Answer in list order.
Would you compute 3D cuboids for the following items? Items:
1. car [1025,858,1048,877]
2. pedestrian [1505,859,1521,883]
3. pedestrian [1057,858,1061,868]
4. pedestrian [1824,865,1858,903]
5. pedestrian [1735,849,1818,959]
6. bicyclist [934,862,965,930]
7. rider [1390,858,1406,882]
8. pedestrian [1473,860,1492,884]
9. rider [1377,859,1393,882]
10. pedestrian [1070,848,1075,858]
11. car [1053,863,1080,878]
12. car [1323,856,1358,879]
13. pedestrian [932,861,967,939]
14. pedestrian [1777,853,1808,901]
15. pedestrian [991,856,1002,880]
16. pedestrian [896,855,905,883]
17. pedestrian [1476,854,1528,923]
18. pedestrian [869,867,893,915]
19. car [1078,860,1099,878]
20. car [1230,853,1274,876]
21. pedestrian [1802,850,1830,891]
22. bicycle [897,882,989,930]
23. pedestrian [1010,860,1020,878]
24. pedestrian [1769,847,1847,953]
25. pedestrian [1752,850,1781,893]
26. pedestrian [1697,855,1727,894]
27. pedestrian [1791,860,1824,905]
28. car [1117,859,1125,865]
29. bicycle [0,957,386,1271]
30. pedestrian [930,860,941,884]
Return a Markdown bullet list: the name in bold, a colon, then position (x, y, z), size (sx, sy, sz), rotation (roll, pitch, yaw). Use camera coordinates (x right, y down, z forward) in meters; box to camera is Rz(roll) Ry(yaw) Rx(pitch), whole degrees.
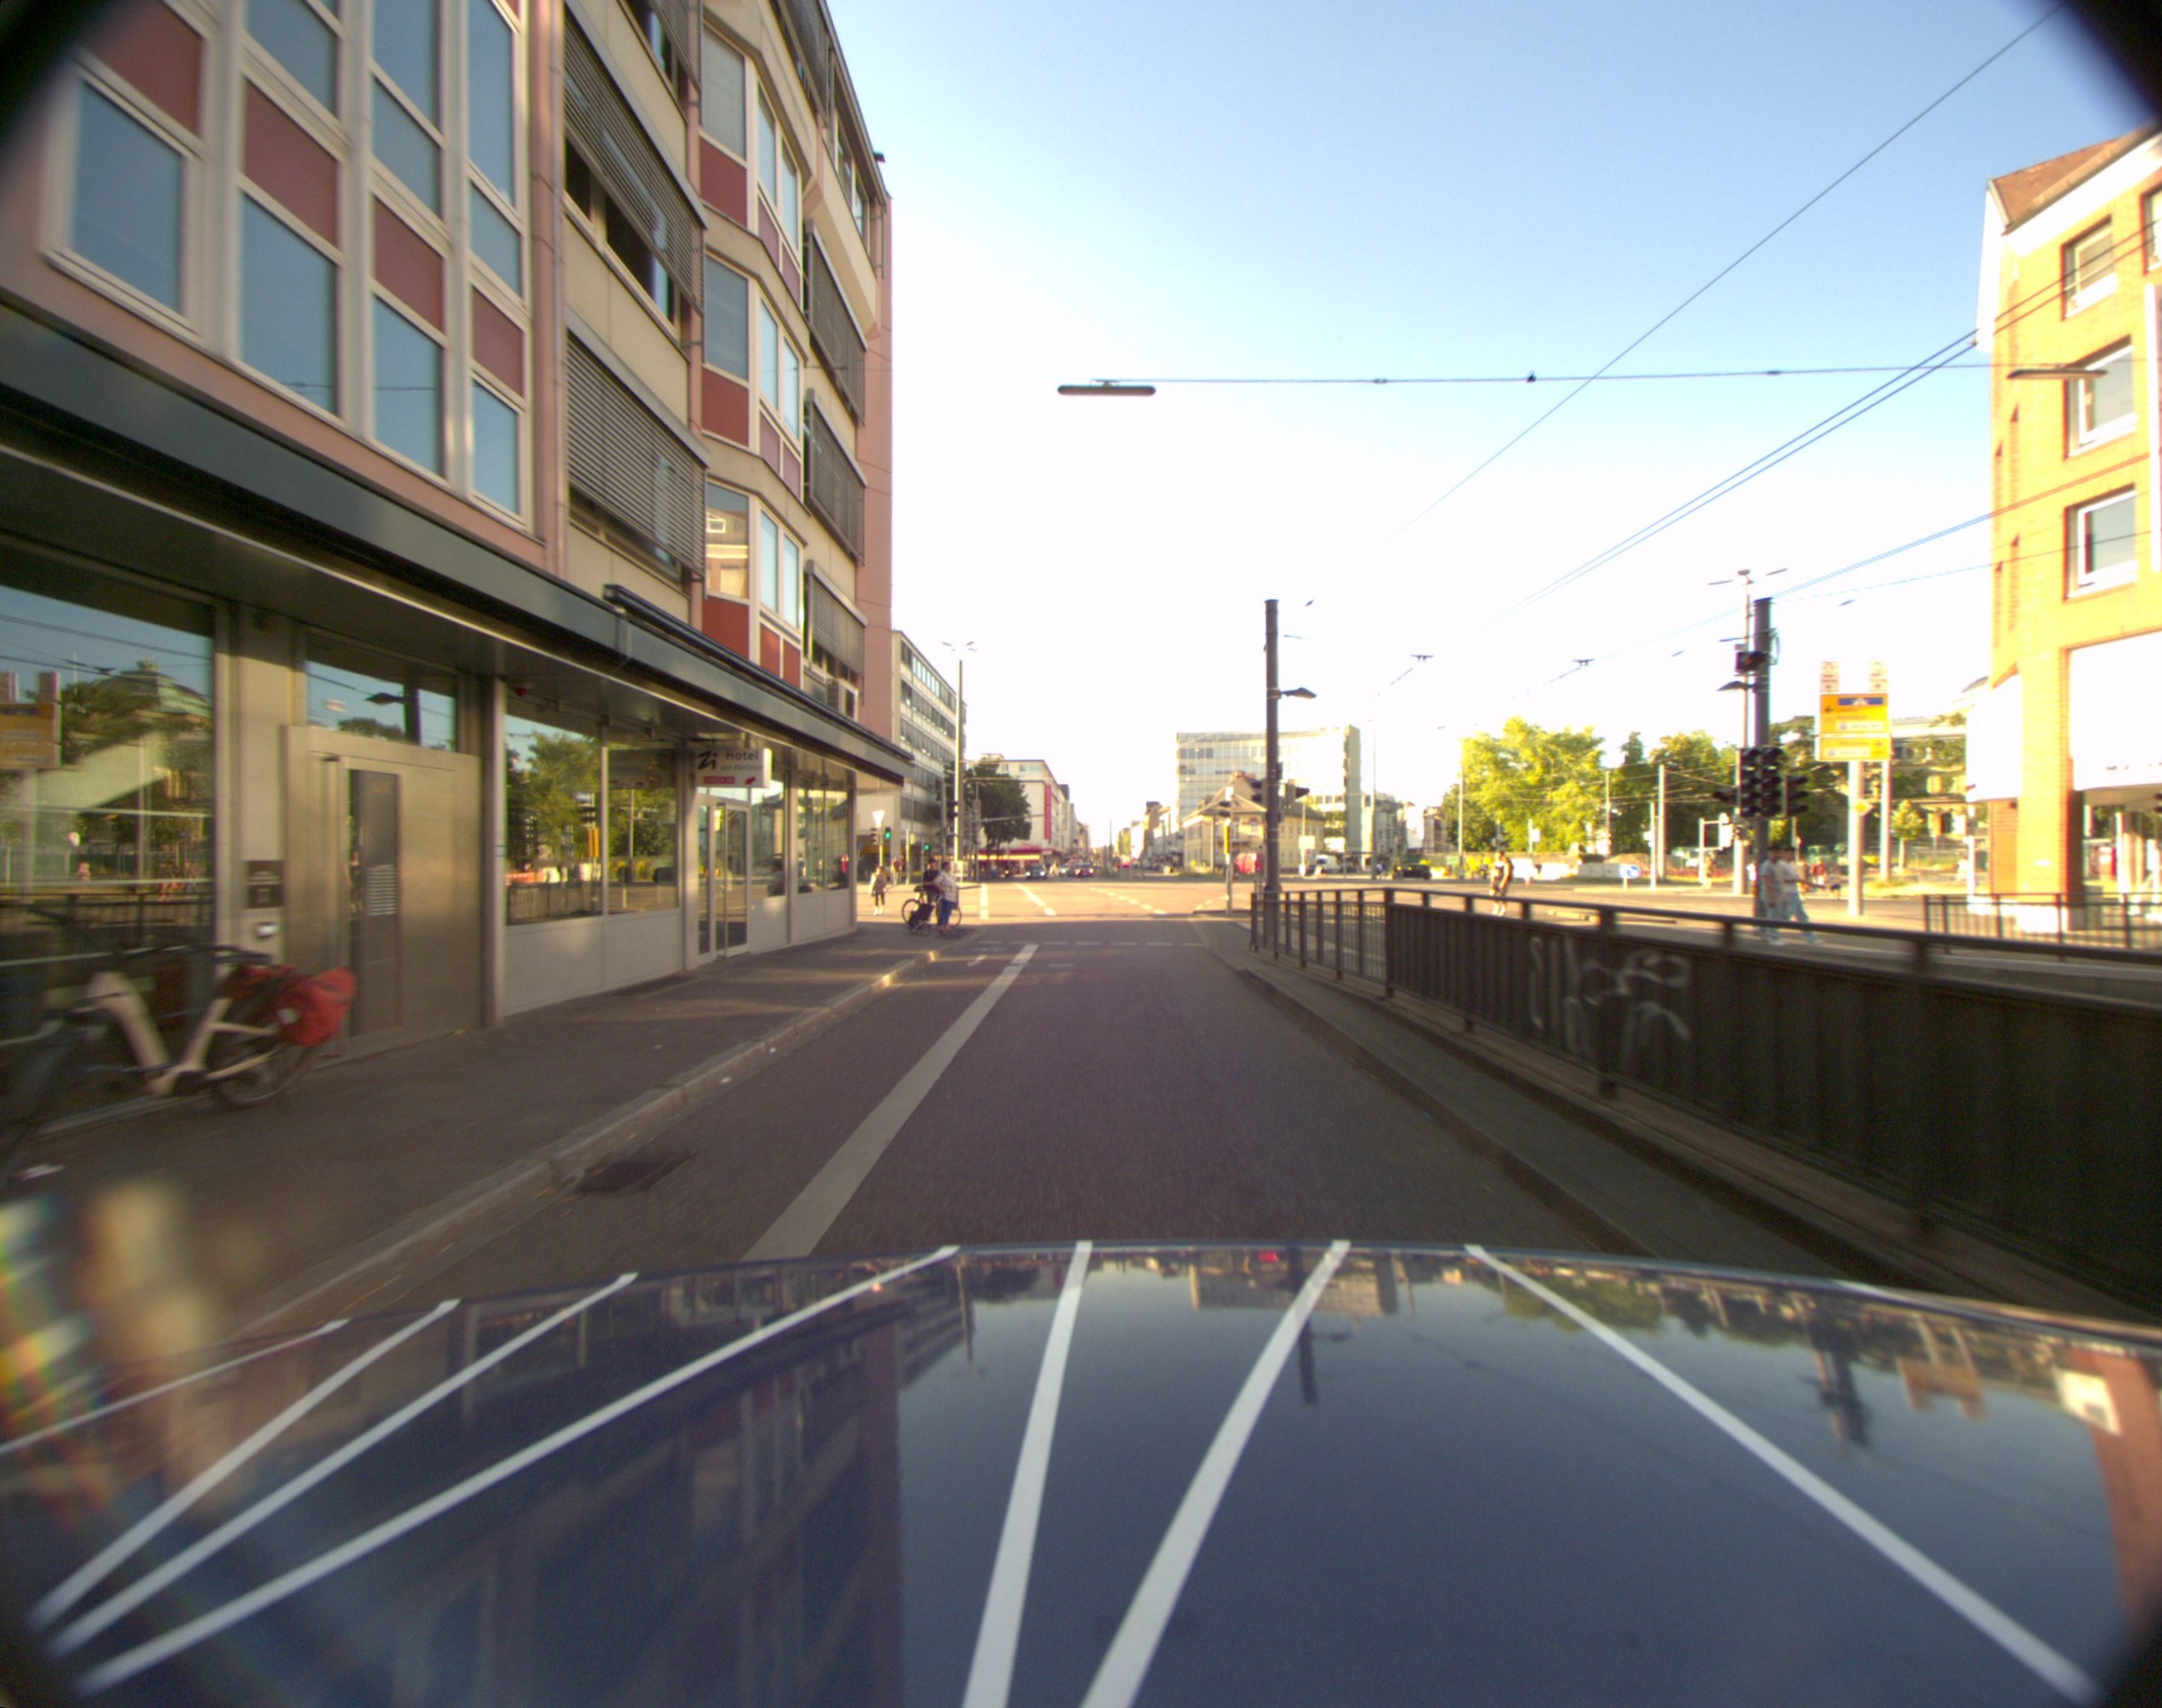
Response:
- **car**: position (-4.199, 1.291, 72.222), size (1.972, 1.664, 4.875), rotation (-2, -1, -1)
- **pedestrian**: position (36.629, 1.443, 64.473), size (1.011, 2.002, 0.991), rotation (-3, 1, 35)
- **pedestrian**: position (-3.166, 1.286, 110.988), size (0.597, 1.434, 0.613), rotation (0, 0, -2)
- **pedestrian**: position (30.836, 1.220, 30.850), size (0.858, 1.501, 0.813), rotation (-3, 1, 38)
- **pedestrian**: position (11.841, 0.828, 12.945), size (0.862, 1.756, 0.809), rotation (-3, 1, -34)
- **bicyclist**: position (-3.287, 1.034, 18.996), size (0.637, 1.668, 0.768), rotation (-1, 1, -2)
- **rider**: position (28.246, 1.424, 67.629), size (1.011, 2.002, 0.991), rotation (-3, 1, 35)
- **pedestrian**: position (34.213, 1.509, 64.773), size (1.073, 2.002, 0.989), rotation (-3, 1, 6)
- **rider**: position (27.478, 1.456, 68.639), size (1.011, 2.002, 1.022), rotation (-3, 1, 35)
- **pedestrian**: position (-1.227, -0.159, 108.115), size (0.597, 1.434, 0.613), rotation (0, 0, -10)
- **car**: position (-1.738, 1.959, 89.227), size (1.974, 1.664, 4.869), rotation (-2, -1, -15)
- **car**: position (36.617, 1.882, 107.067), size (2.535, 3.031, 6.387), rotation (2, 2, 38)
- **pedestrian**: position (-2.911, 1.002, 16.858), size (0.637, 1.652, 0.768), rotation (3, 0, -8)
- **pedestrian**: position (30.986, 1.002, 33.093), size (0.858, 2.002, 0.813), rotation (-3, 1, 38)
- **pedestrian**: position (-7.476, 1.218, 67.070), size (0.747, 2.002, 1.070), rotation (-3, 1, -12)
- **pedestrian**: position (-11.418, 0.956, 48.075), size (0.407, 1.708, 0.394), rotation (-3, 1, -22)
- **pedestrian**: position (11.425, 0.926, 20.631), size (0.812, 1.793, 0.859), rotation (-3, 1, -27)
- **pedestrian**: position (-6.420, 1.178, 24.453), size (0.691, 1.526, 0.613), rotation (0, 0, -10)
- **car**: position (0.781, 1.459, 75.407), size (1.971, 1.664, 4.876), rotation (-2, -1, 1)
- **car**: position (19.571, 1.248, 87.114), size (2.545, 2.440, 5.415), rotation (-2, -1, -17)
- **pedestrian**: position (36.746, 0.813, 37.995), size (0.812, 2.002, 0.859), rotation (-4, 1, -39)
- **bicycle**: position (-3.427, 1.293, 18.993), size (2.175, 1.117, 0.768), rotation (-1, 1, -3)
- **pedestrian**: position (-6.329, 1.393, 72.533), size (0.860, 1.700, 1.051), rotation (-2, 0, -3)
- **pedestrian**: position (12.847, 0.792, 13.434), size (0.862, 1.756, 0.809), rotation (-3, 1, -37)
- **pedestrian**: position (33.264, 0.861, 36.863), size (0.812, 2.002, 0.859), rotation (-4, 1, -39)
- **pedestrian**: position (33.689, 1.088, 40.599), size (0.811, 2.002, 0.860), rotation (-3, 1, -13)
- **pedestrian**: position (29.708, 1.158, 31.070), size (0.858, 1.756, 0.813), rotation (-3, 1, 38)
- **car**: position (12.346, 2.403, 233.510), size (1.972, 1.664, 4.874), rotation (-2, -1, -2)
- **bicycle**: position (-4.594, 1.137, 3.724), size (0.678, 0.971, 1.842), rotation (4, 0, -2)
- **pedestrian**: position (-8.987, 1.084, 46.897), size (0.597, 1.434, 0.613), rotation (-3, 1, -10)
